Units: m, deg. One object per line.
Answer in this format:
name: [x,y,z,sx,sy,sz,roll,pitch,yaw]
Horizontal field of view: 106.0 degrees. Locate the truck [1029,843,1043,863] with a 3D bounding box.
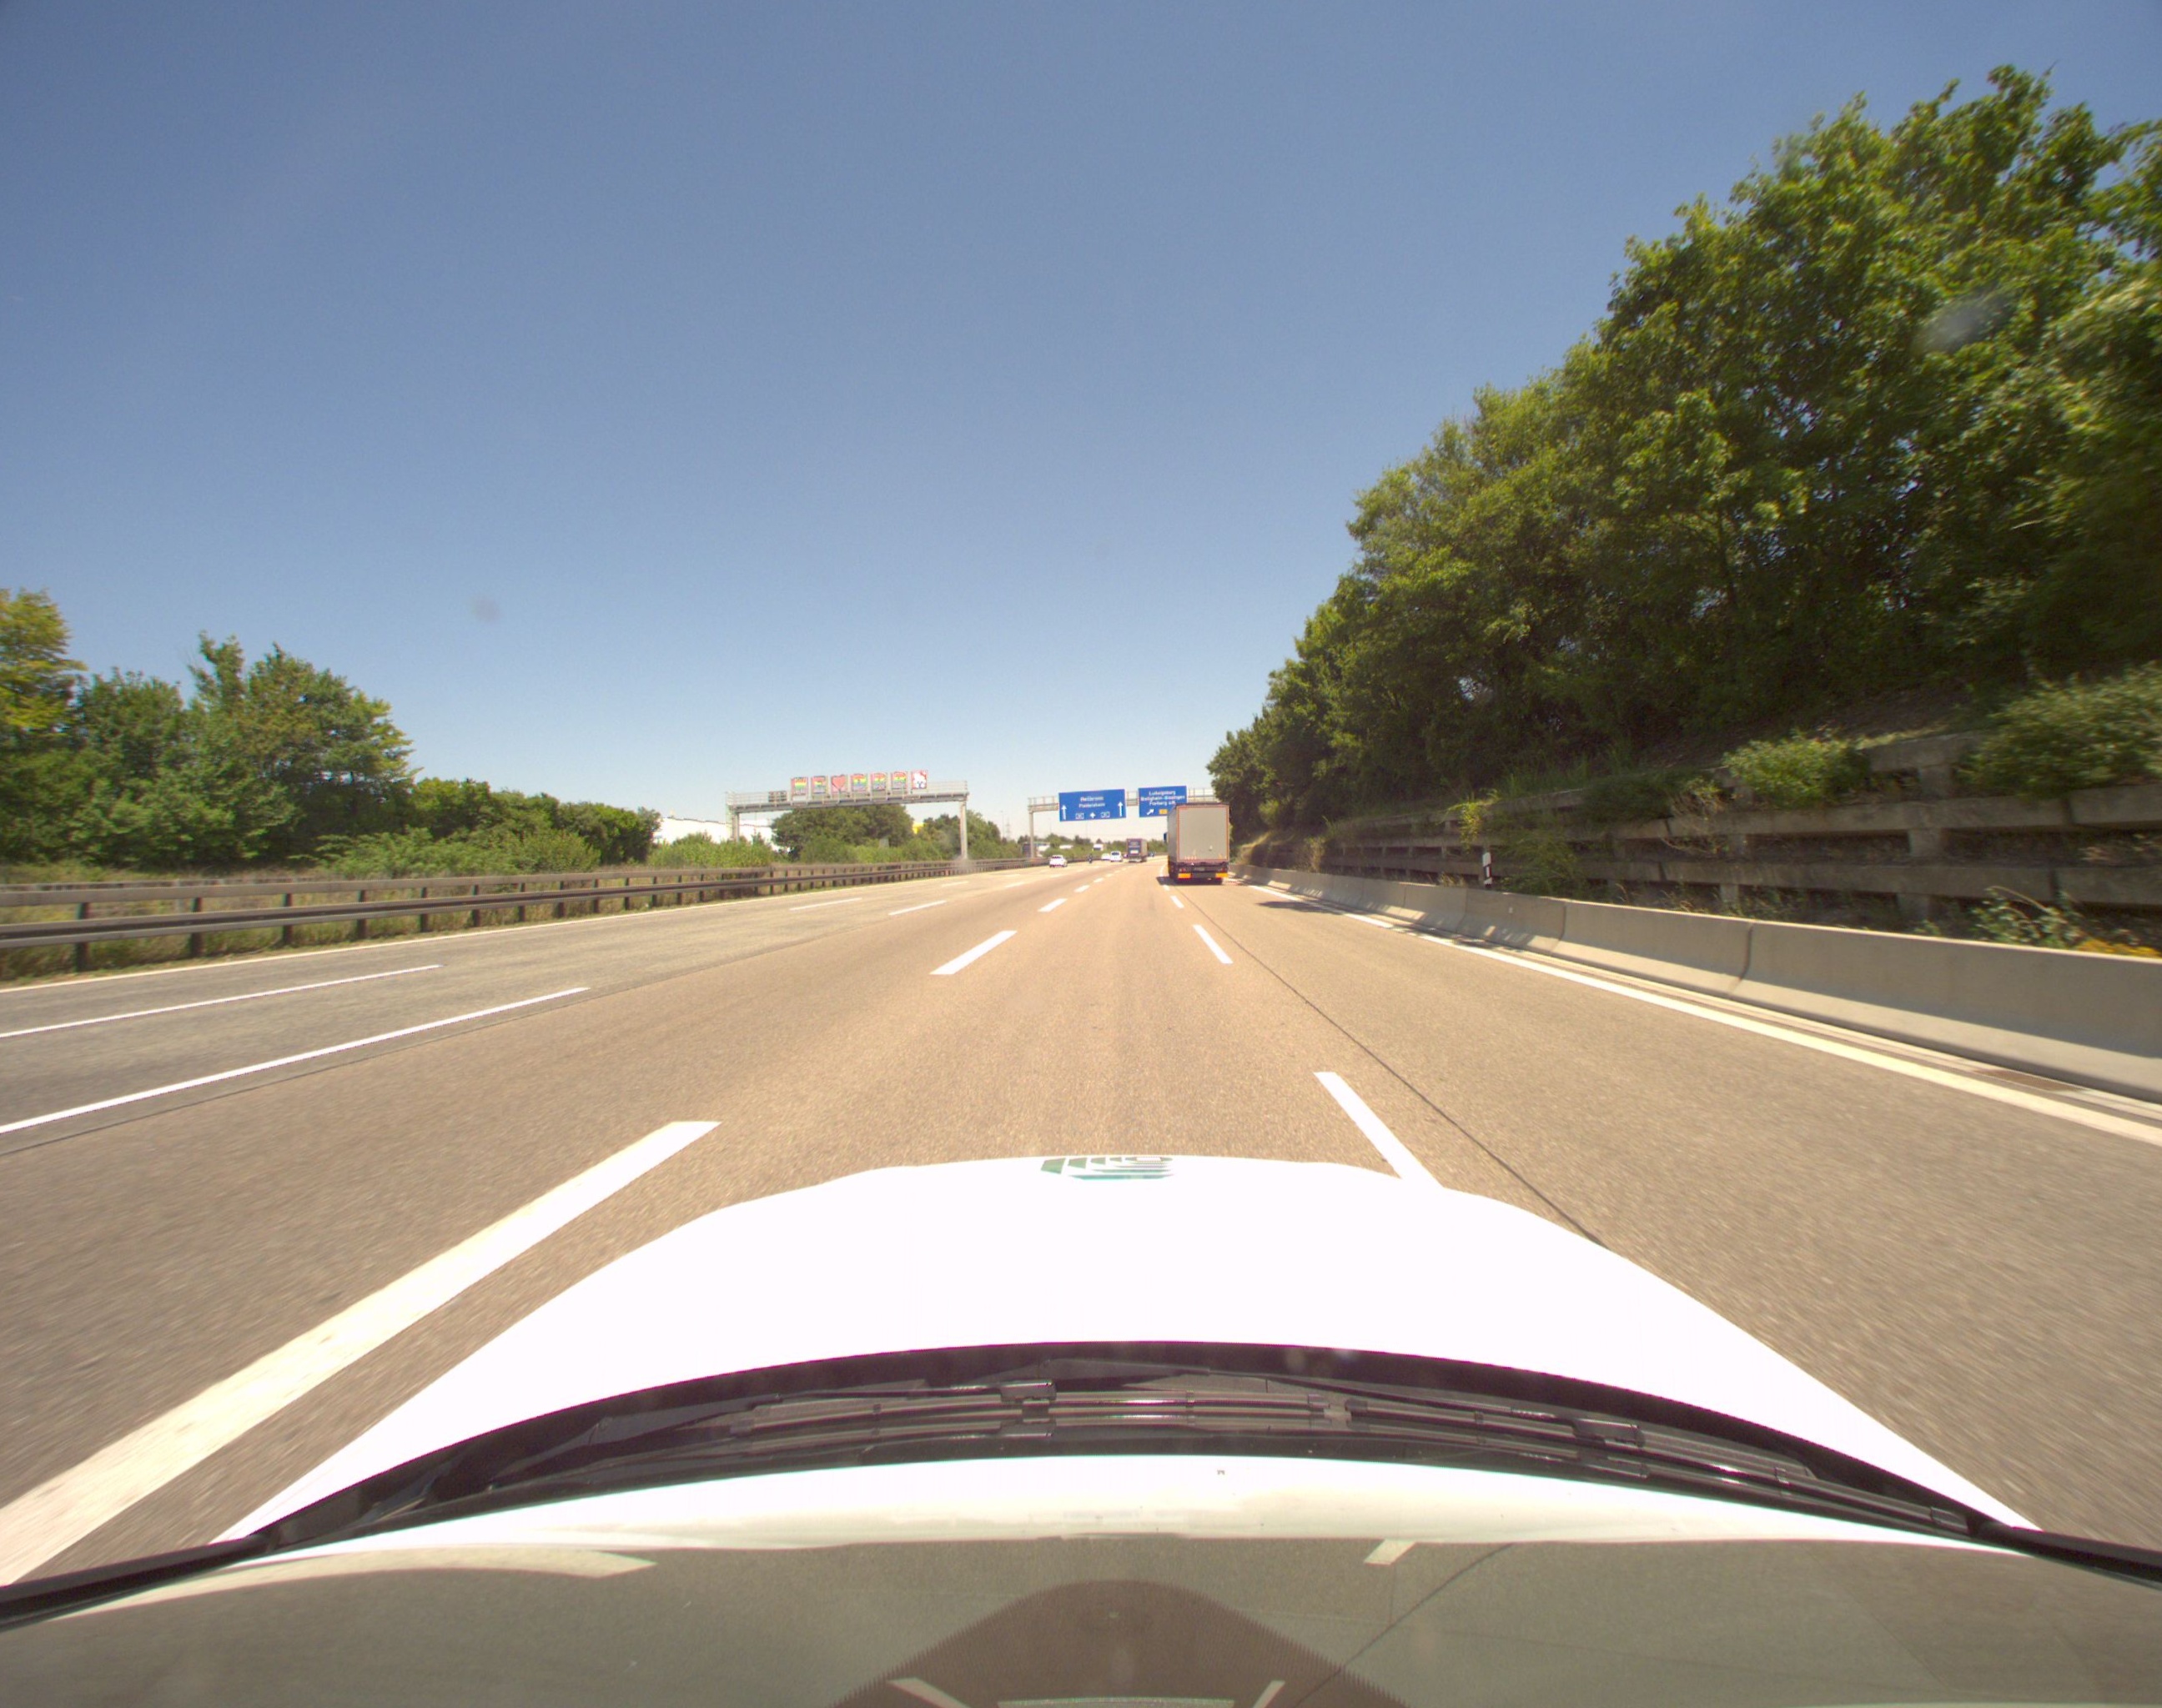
truck: [-9.137,-0.220,165.365,1.983,3.896,4.349,-1,0,6]

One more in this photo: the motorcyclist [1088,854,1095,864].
motorcyclist: [1.663,0.756,131.457,0.889,1.597,1.301,-1,-1,6]

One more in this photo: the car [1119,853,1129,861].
car: [10.201,0.764,192.166,1.866,1.783,5.135,-1,-1,7]

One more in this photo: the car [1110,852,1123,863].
car: [6.295,0.685,145.502,1.920,1.851,4.701,-2,0,7]

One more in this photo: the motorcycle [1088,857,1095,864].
motorcycle: [1.662,1.017,131.404,0.908,1.089,2.854,-1,-1,6]

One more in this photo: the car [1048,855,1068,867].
car: [-2.728,0.835,98.114,1.773,1.440,4.676,-1,-1,6]

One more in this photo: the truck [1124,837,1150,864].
truck: [9.778,-0.595,141.469,3.727,4.270,14.522,-1,0,7]

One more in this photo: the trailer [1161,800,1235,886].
trailer: [6.151,-0.622,44.872,2.915,4.015,12.049,-2,1,3]

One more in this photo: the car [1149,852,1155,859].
car: [22.464,0.420,257.661,1.866,2.002,5.135,-1,-1,7]

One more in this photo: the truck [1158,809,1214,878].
truck: [6.580,-0.678,51.973,2.915,4.015,7.590,-2,1,3]

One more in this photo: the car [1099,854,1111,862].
car: [4.845,0.814,161.675,1.866,1.440,5.135,-1,-1,7]

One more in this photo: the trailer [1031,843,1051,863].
trailer: [-8.365,-0.221,172.553,1.983,3.922,14.026,-1,0,6]

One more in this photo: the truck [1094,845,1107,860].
truck: [5.740,-0.496,236.526,2.737,4.207,10.425,-1,0,8]
